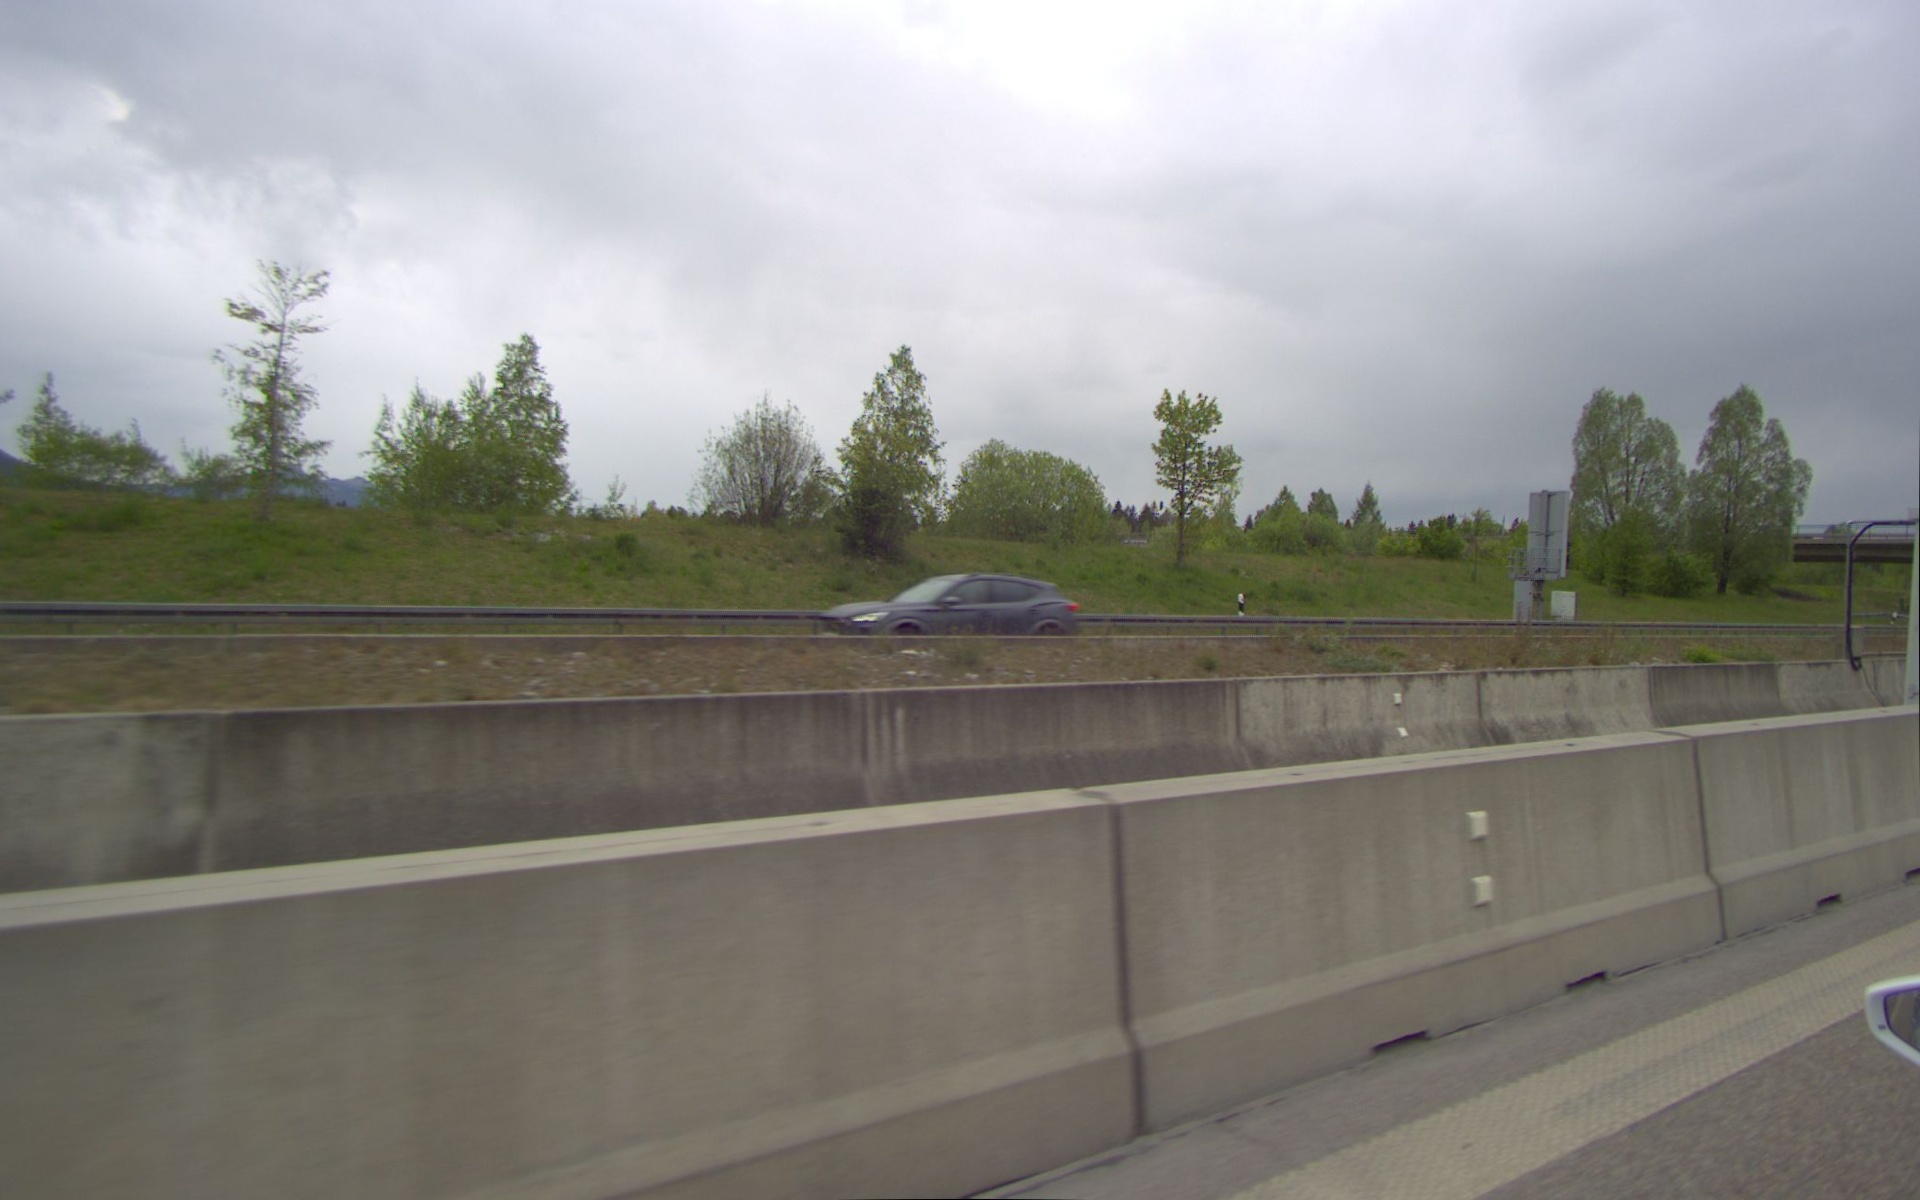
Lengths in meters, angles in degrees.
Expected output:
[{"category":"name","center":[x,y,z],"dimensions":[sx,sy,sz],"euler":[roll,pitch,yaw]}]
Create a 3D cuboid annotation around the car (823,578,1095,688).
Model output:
[{"category":"car","center":[0.023,0.503,16.351],"dimensions":[4.128,1.596,1.694],"euler":[1,1,-30]}]
